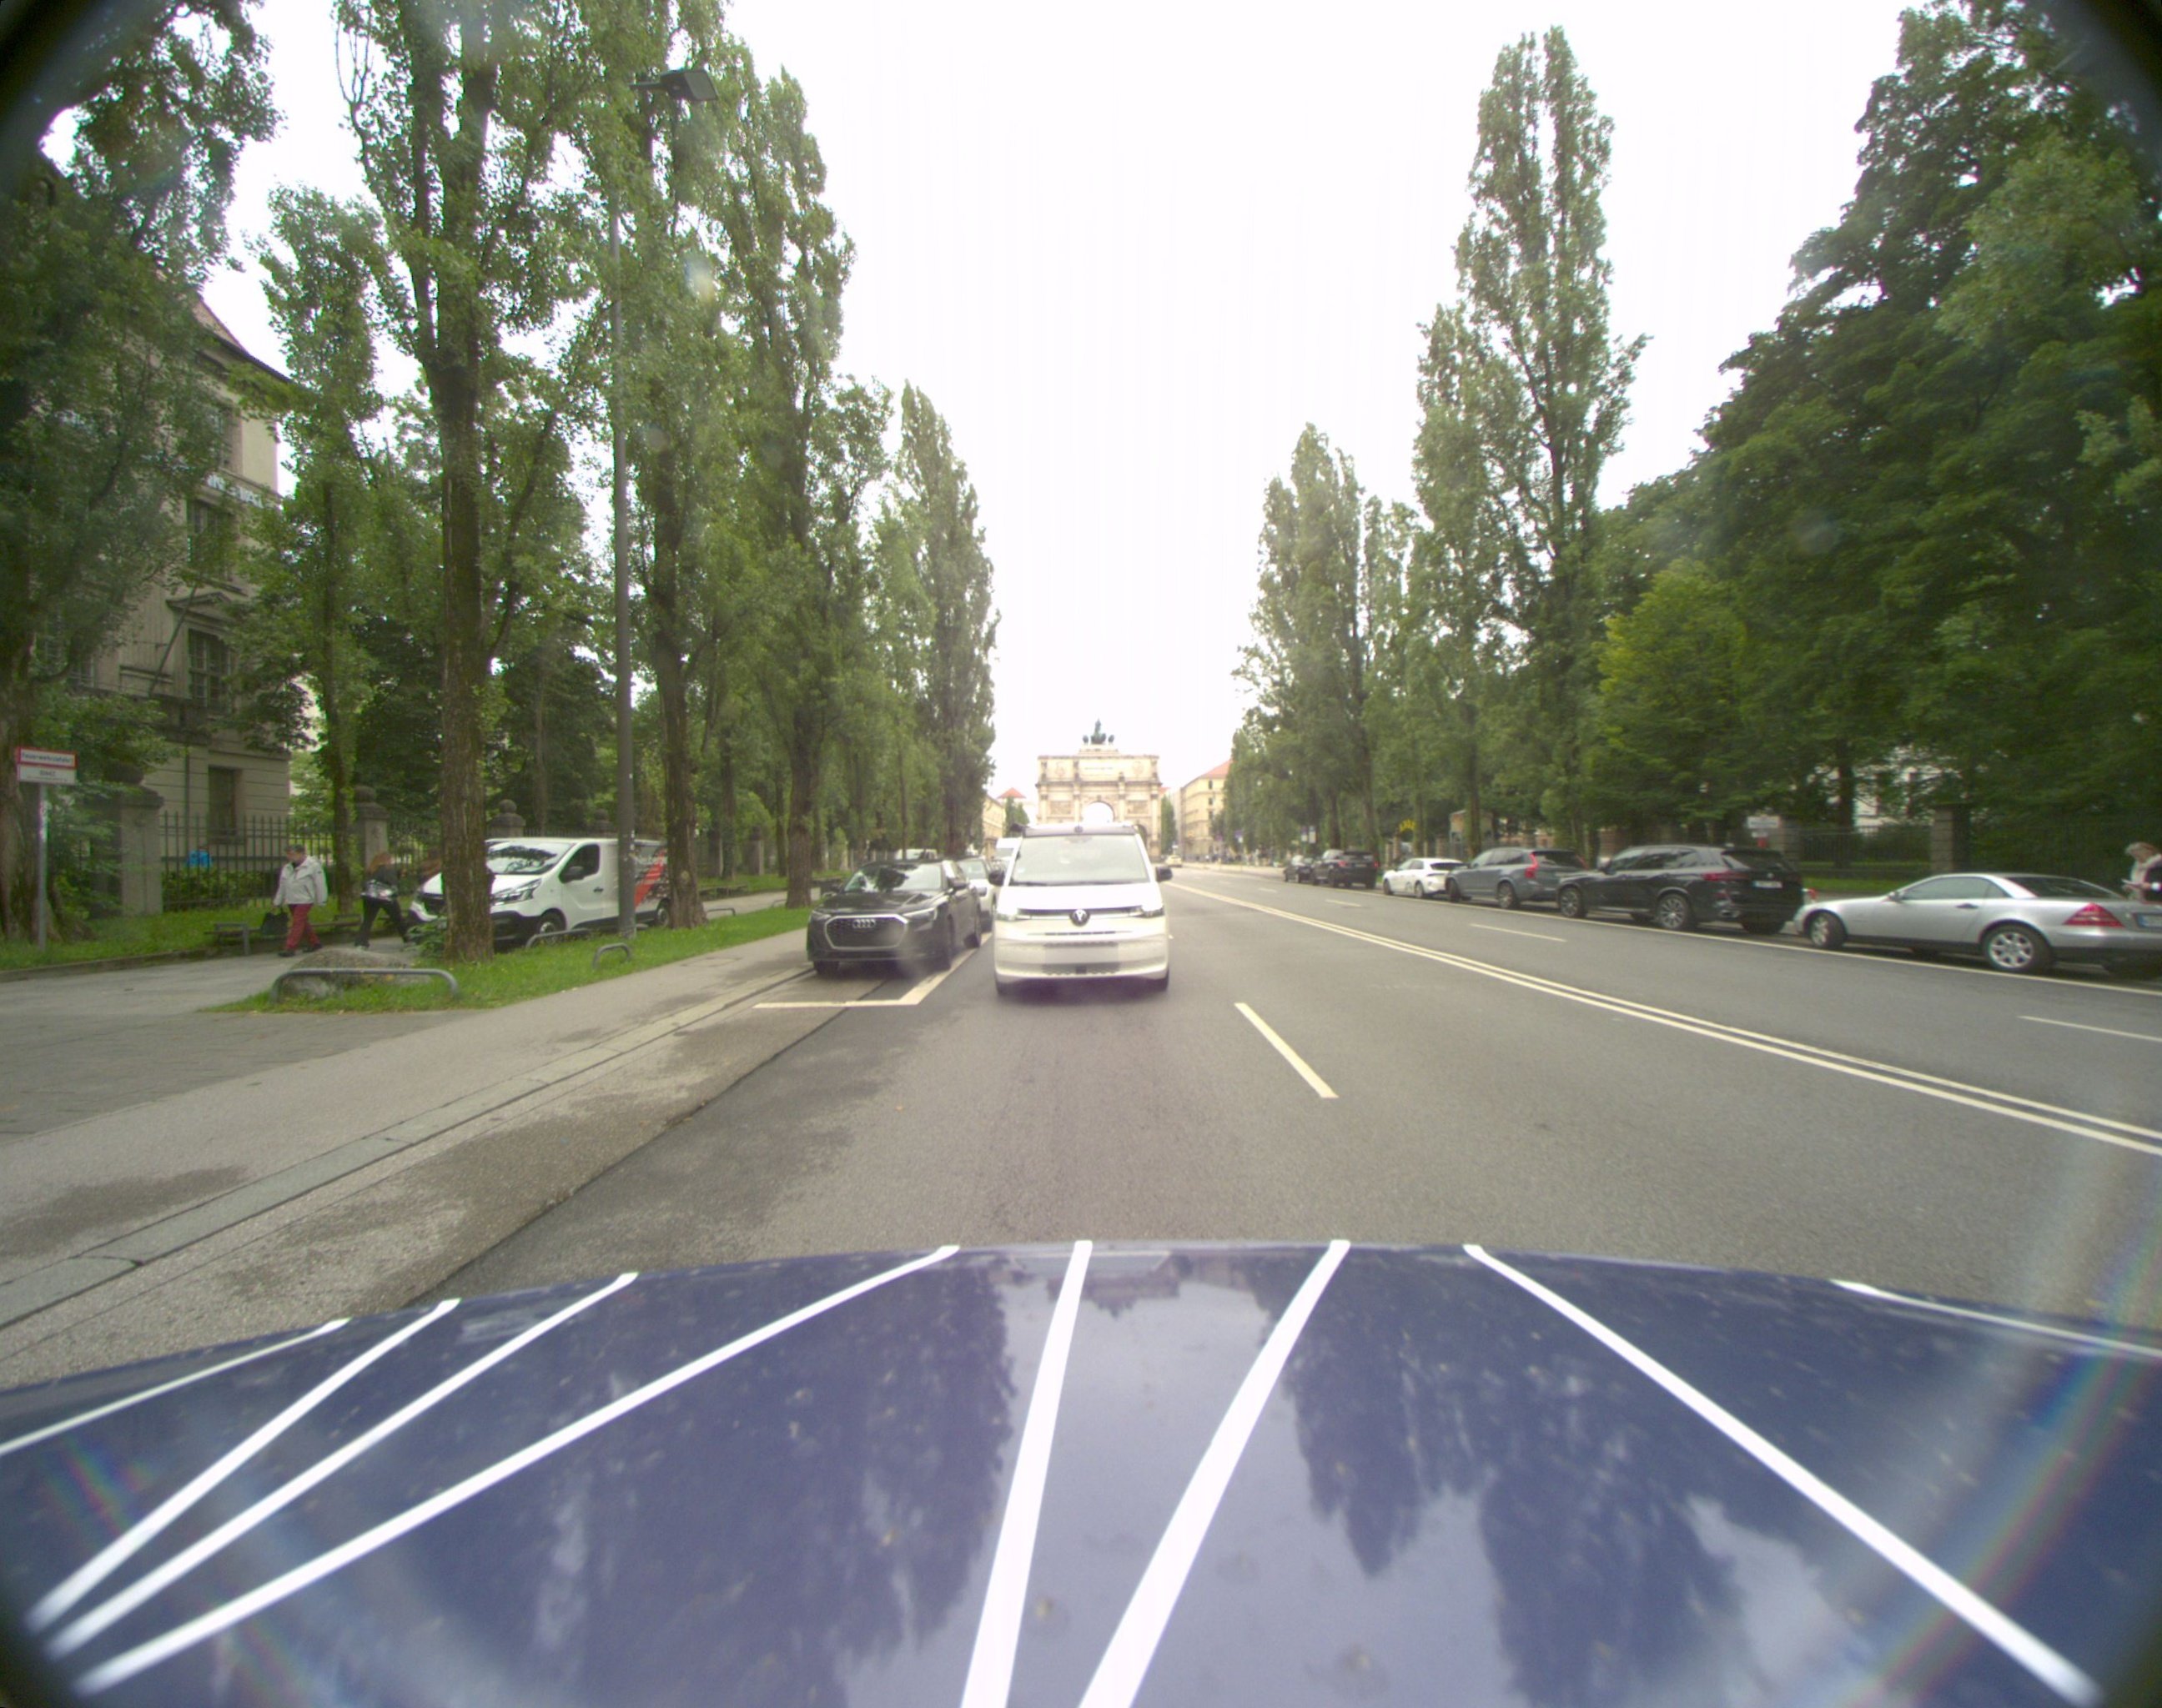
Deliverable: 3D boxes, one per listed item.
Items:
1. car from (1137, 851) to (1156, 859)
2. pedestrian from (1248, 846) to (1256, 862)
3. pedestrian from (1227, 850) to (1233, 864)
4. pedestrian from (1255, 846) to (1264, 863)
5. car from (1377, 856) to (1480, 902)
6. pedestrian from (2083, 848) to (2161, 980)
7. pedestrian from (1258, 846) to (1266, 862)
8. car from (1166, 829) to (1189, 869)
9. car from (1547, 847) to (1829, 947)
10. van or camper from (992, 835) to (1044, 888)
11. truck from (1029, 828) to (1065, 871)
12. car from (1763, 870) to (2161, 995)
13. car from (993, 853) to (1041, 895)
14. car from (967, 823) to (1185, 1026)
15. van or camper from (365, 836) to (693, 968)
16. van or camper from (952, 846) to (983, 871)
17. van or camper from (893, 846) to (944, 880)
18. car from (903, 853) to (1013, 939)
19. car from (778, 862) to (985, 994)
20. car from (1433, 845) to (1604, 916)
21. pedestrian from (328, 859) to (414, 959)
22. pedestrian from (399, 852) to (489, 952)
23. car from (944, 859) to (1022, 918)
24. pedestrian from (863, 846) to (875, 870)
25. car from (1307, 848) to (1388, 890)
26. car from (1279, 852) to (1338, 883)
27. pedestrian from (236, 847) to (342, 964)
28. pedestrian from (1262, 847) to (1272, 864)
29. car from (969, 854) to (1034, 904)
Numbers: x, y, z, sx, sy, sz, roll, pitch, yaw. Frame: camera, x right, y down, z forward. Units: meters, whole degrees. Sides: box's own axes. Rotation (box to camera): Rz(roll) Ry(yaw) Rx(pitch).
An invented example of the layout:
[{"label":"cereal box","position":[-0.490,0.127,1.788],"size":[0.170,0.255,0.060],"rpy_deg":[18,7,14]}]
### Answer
[{"label":"car","position":[14.107,0.292,163.989],"size":[2.004,1.739,3.989],"rpy_deg":[-1,0,-40]},{"label":"pedestrian","position":[18.547,0.024,82.468],"size":[0.689,1.690,0.885],"rpy_deg":[-1,0,-1]},{"label":"pedestrian","position":[17.899,0.331,91.518],"size":[0.533,1.720,0.583],"rpy_deg":[-1,1,-11]},{"label":"pedestrian","position":[18.823,0.058,80.036],"size":[0.711,1.762,1.092],"rpy_deg":[0,1,-1]},{"label":"car","position":[12.374,0.847,27.385],"size":[1.708,1.450,4.272],"rpy_deg":[1,0,-1]},{"label":"pedestrian","position":[13.939,0.749,9.904],"size":[0.740,1.654,0.751],"rpy_deg":[0,1,1]},{"label":"pedestrian","position":[19.624,0.031,82.435],"size":[0.661,1.706,0.911],"rpy_deg":[-1,0,-1]},{"label":"car","position":[11.877,-0.644,93.155],"size":[1.799,4.453,1.332],"rpy_deg":[21,-34,-8]},{"label":"car","position":[12.446,0.769,16.146],"size":[1.946,1.757,4.894],"rpy_deg":[2,0,-2]},{"label":"van or camper","position":[-3.161,0.341,39.307],"size":[2.144,2.525,6.416],"rpy_deg":[-1,0,0]},{"label":"truck","position":[-2.947,-0.369,68.822],"size":[2.852,3.543,10.277],"rpy_deg":[-1,0,-1]},{"label":"car","position":[12.600,0.964,10.866],"size":[1.831,1.326,4.233],"rpy_deg":[2,0,-1]},{"label":"car","position":[-2.643,0.811,32.276],"size":[1.789,1.639,4.416],"rpy_deg":[-1,0,-2]},{"label":"car","position":[-0.022,0.671,10.228],"size":[2.064,1.916,5.728],"rpy_deg":[-1,0,0]},{"label":"van or camper","position":[-9.675,0.718,14.110],"size":[2.081,1.922,5.368],"rpy_deg":[-2,0,0]},{"label":"van or camper","position":[-9.693,0.391,65.485],"size":[2.009,2.002,4.985],"rpy_deg":[-2,0,-2]},{"label":"van or camper","position":[-9.747,0.507,46.000],"size":[1.980,1.922,5.037],"rpy_deg":[-2,0,-1]},{"label":"car","position":[-2.611,0.832,17.203],"size":[1.747,1.665,4.579],"rpy_deg":[-1,0,0]},{"label":"car","position":[-2.690,0.921,11.404],"size":[1.885,1.531,4.464],"rpy_deg":[-1,0,0]},{"label":"car","position":[12.517,0.687,22.251],"size":[1.914,1.779,5.179],"rpy_deg":[2,0,-1]},{"label":"pedestrian","position":[-11.652,0.877,12.497],"size":[0.569,1.569,0.867],"rpy_deg":[0,1,0]},{"label":"pedestrian","position":[-11.201,0.819,13.393],"size":[0.855,1.707,0.867],"rpy_deg":[1,1,-1]},{"label":"car","position":[-2.751,0.910,22.136],"size":[1.707,1.511,4.294],"rpy_deg":[-1,0,0]},{"label":"pedestrian","position":[-17.885,0.338,64.149],"size":[0.905,2.002,0.956],"rpy_deg":[0,1,-16]},{"label":"car","position":[12.426,0.655,35.803],"size":[2.051,1.776,4.799],"rpy_deg":[1,0,0]},{"label":"car","position":[12.530,0.722,42.134],"size":[1.949,1.574,4.388],"rpy_deg":[1,0,0]},{"label":"pedestrian","position":[-12.404,0.779,11.930],"size":[0.723,1.760,0.867],"rpy_deg":[2,1,1]},{"label":"pedestrian","position":[19.585,0.178,80.067],"size":[0.711,1.762,1.092],"rpy_deg":[0,1,-1]},{"label":"car","position":[-2.729,0.820,27.031],"size":[1.788,1.608,4.637],"rpy_deg":[-1,0,0]}]
